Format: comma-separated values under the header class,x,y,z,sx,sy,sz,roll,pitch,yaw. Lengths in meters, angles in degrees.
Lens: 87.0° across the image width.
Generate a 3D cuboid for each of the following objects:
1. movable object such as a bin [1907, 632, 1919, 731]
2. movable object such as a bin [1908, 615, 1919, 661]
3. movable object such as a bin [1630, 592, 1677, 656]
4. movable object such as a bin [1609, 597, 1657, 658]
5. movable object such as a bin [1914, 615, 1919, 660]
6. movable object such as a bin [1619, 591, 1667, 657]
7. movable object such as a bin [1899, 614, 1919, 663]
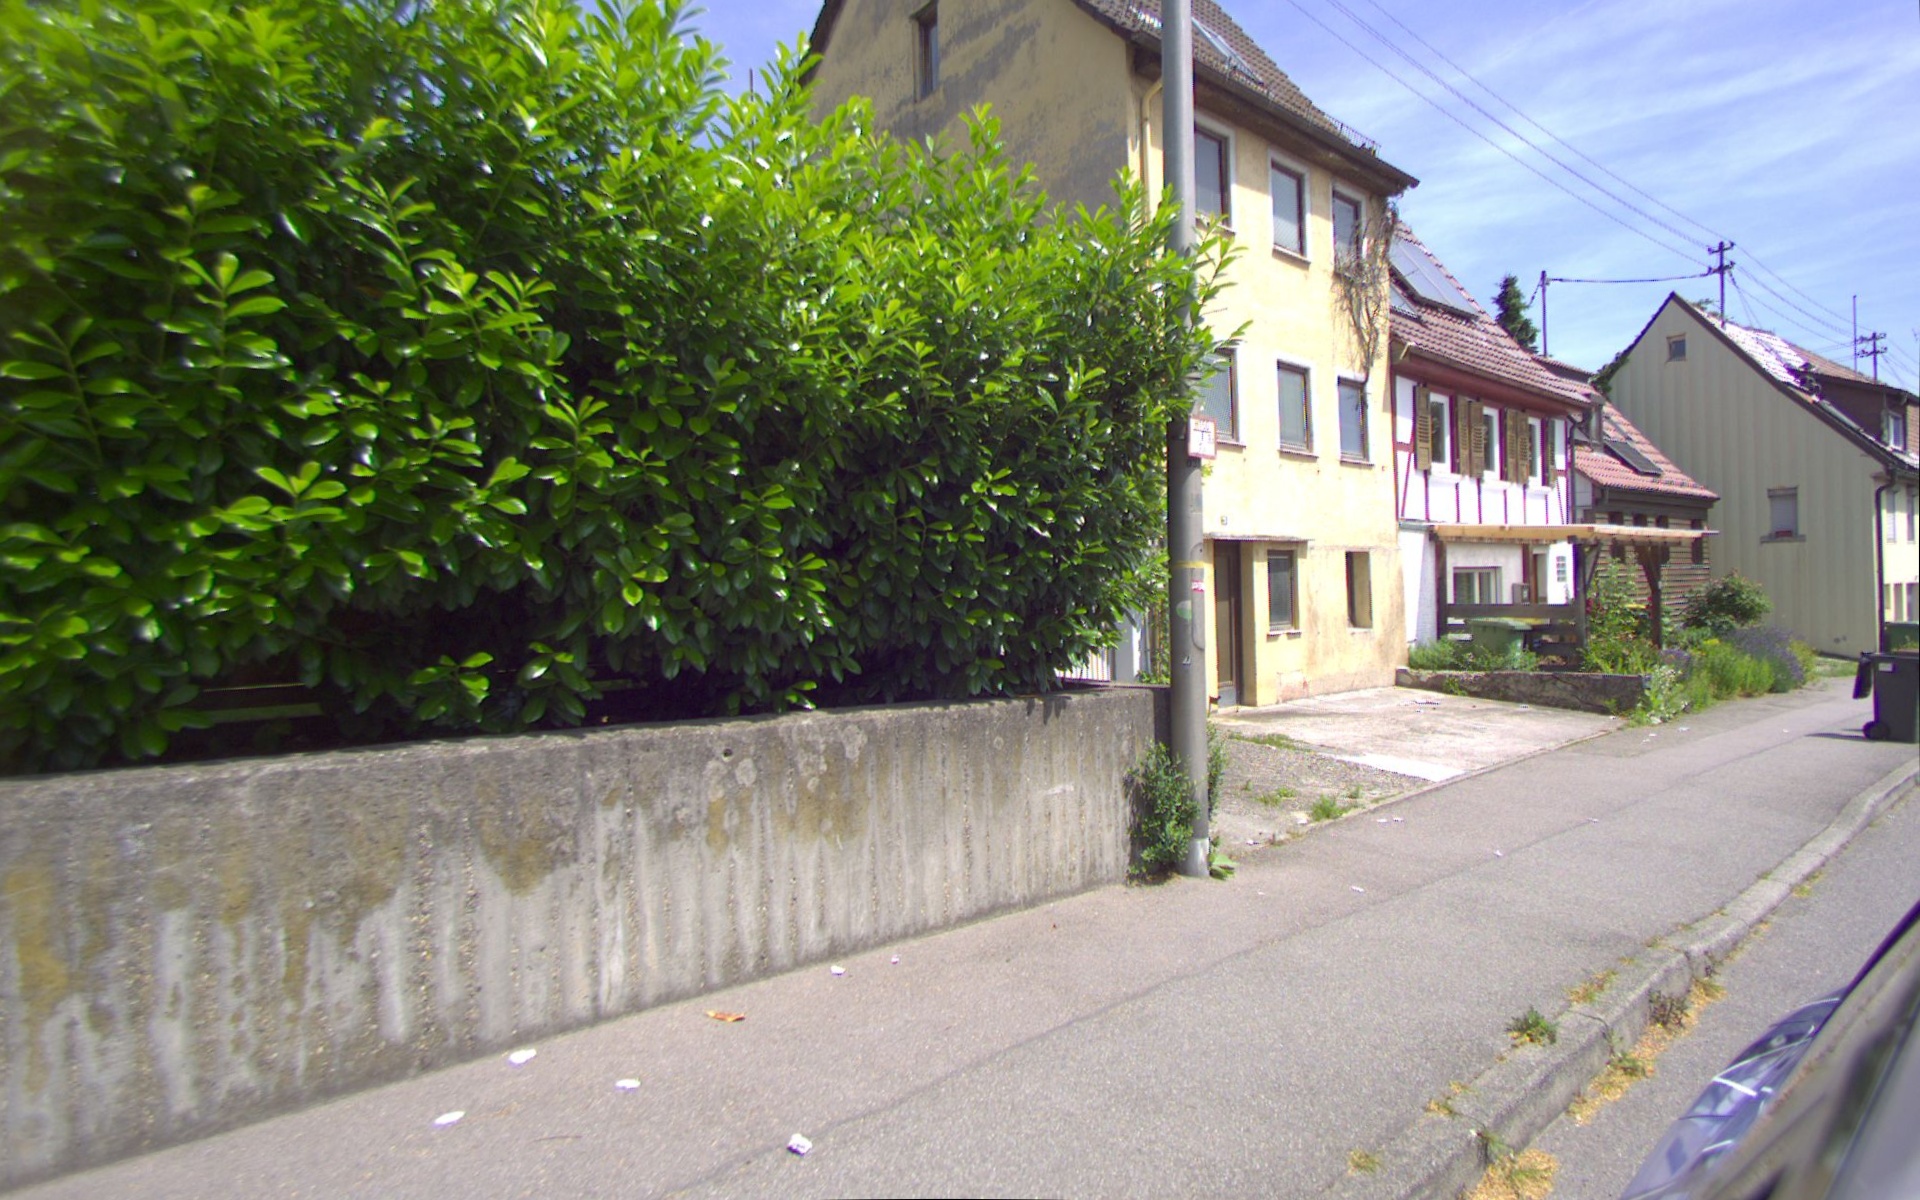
class,x,y,z,sx,sy,sz,roll,pitch,yaw
movable object such as a bin,10.600,0.896,10.765,0.537,1.046,0.497,2,3,-16
movable object such as a bin,22.082,0.876,23.083,0.541,1.046,0.548,1,2,-37
movable object such as a bin,13.449,0.450,19.636,0.502,1.171,0.536,0,6,-41
movable object such as a bin,12.522,0.499,18.834,0.540,1.069,0.536,0,6,-42
movable object such as a bin,22.543,0.883,23.428,0.541,1.046,0.548,1,2,-37
movable object such as a bin,12.979,0.449,19.230,0.540,1.171,0.536,0,6,-42
movable object such as a bin,21.362,0.857,22.519,0.541,1.046,0.548,1,2,-37
